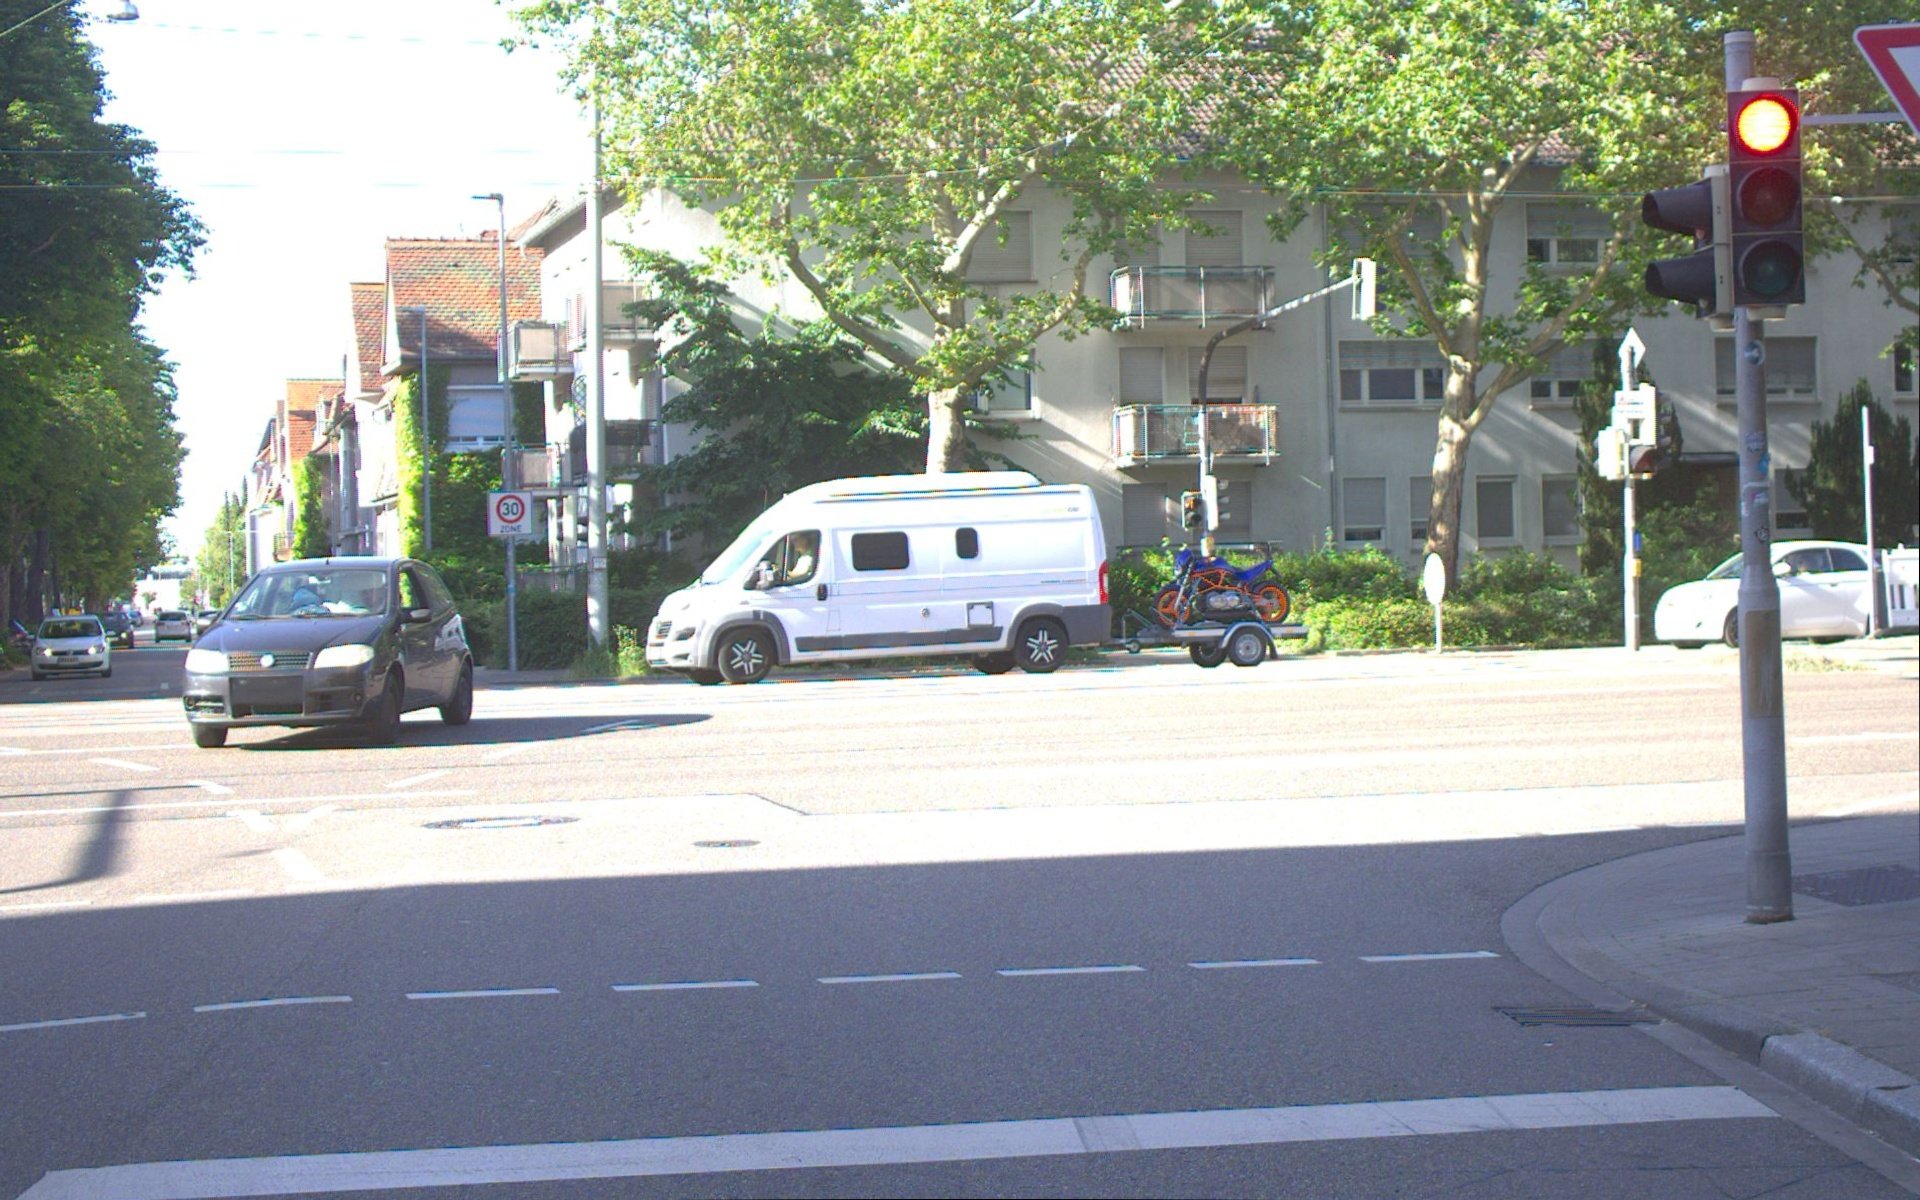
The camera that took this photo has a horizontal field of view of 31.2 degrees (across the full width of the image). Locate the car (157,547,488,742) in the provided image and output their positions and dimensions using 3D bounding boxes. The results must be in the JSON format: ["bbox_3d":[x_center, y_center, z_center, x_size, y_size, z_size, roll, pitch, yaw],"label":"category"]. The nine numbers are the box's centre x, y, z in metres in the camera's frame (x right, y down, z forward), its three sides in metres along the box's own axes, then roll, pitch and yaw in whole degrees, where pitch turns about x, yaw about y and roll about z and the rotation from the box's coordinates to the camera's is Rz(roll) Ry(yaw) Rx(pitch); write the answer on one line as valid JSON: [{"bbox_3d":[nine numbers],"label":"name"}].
[{"bbox_3d":[-5.098,0.313,27.940,1.652,1.452,3.642,-1,1,6],"label":"car"}]

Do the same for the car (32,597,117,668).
[{"bbox_3d":[-20.551,0.739,79.874,1.698,1.478,3.535,-3,1,-12],"label":"car"}]

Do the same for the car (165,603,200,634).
[{"bbox_3d":[-41.097,0.989,181.853,1.698,1.478,3.535,-3,1,-12],"label":"car"}]

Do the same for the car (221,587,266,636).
[{"bbox_3d":[-30.522,0.470,146.440,1.772,1.912,3.535,-3,1,-12],"label":"car"}]

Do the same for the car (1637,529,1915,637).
[{"bbox_3d":[11.706,-0.255,49.333,3.630,1.452,1.503,-1,1,-20],"label":"car"}]

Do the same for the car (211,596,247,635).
[{"bbox_3d":[-38.457,0.794,180.822,1.772,1.912,3.535,-3,1,-12],"label":"car"}]

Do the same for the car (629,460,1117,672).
[{"bbox_3d":[-1.141,-0.474,45.362,6.106,2.628,1.896,-1,1,-19],"label":"car"}]

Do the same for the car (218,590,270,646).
[{"bbox_3d":[-26.693,0.653,128.154,1.772,1.912,3.535,-3,1,-12],"label":"car"}]

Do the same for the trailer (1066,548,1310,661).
[{"bbox_3d":[3.111,0.042,46.975,2.946,1.452,1.515,-1,1,-19],"label":"trailer"}]

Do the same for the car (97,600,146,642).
[{"bbox_3d":[-32.615,0.790,133.810,1.698,1.478,3.535,-3,1,-12],"label":"car"}]
